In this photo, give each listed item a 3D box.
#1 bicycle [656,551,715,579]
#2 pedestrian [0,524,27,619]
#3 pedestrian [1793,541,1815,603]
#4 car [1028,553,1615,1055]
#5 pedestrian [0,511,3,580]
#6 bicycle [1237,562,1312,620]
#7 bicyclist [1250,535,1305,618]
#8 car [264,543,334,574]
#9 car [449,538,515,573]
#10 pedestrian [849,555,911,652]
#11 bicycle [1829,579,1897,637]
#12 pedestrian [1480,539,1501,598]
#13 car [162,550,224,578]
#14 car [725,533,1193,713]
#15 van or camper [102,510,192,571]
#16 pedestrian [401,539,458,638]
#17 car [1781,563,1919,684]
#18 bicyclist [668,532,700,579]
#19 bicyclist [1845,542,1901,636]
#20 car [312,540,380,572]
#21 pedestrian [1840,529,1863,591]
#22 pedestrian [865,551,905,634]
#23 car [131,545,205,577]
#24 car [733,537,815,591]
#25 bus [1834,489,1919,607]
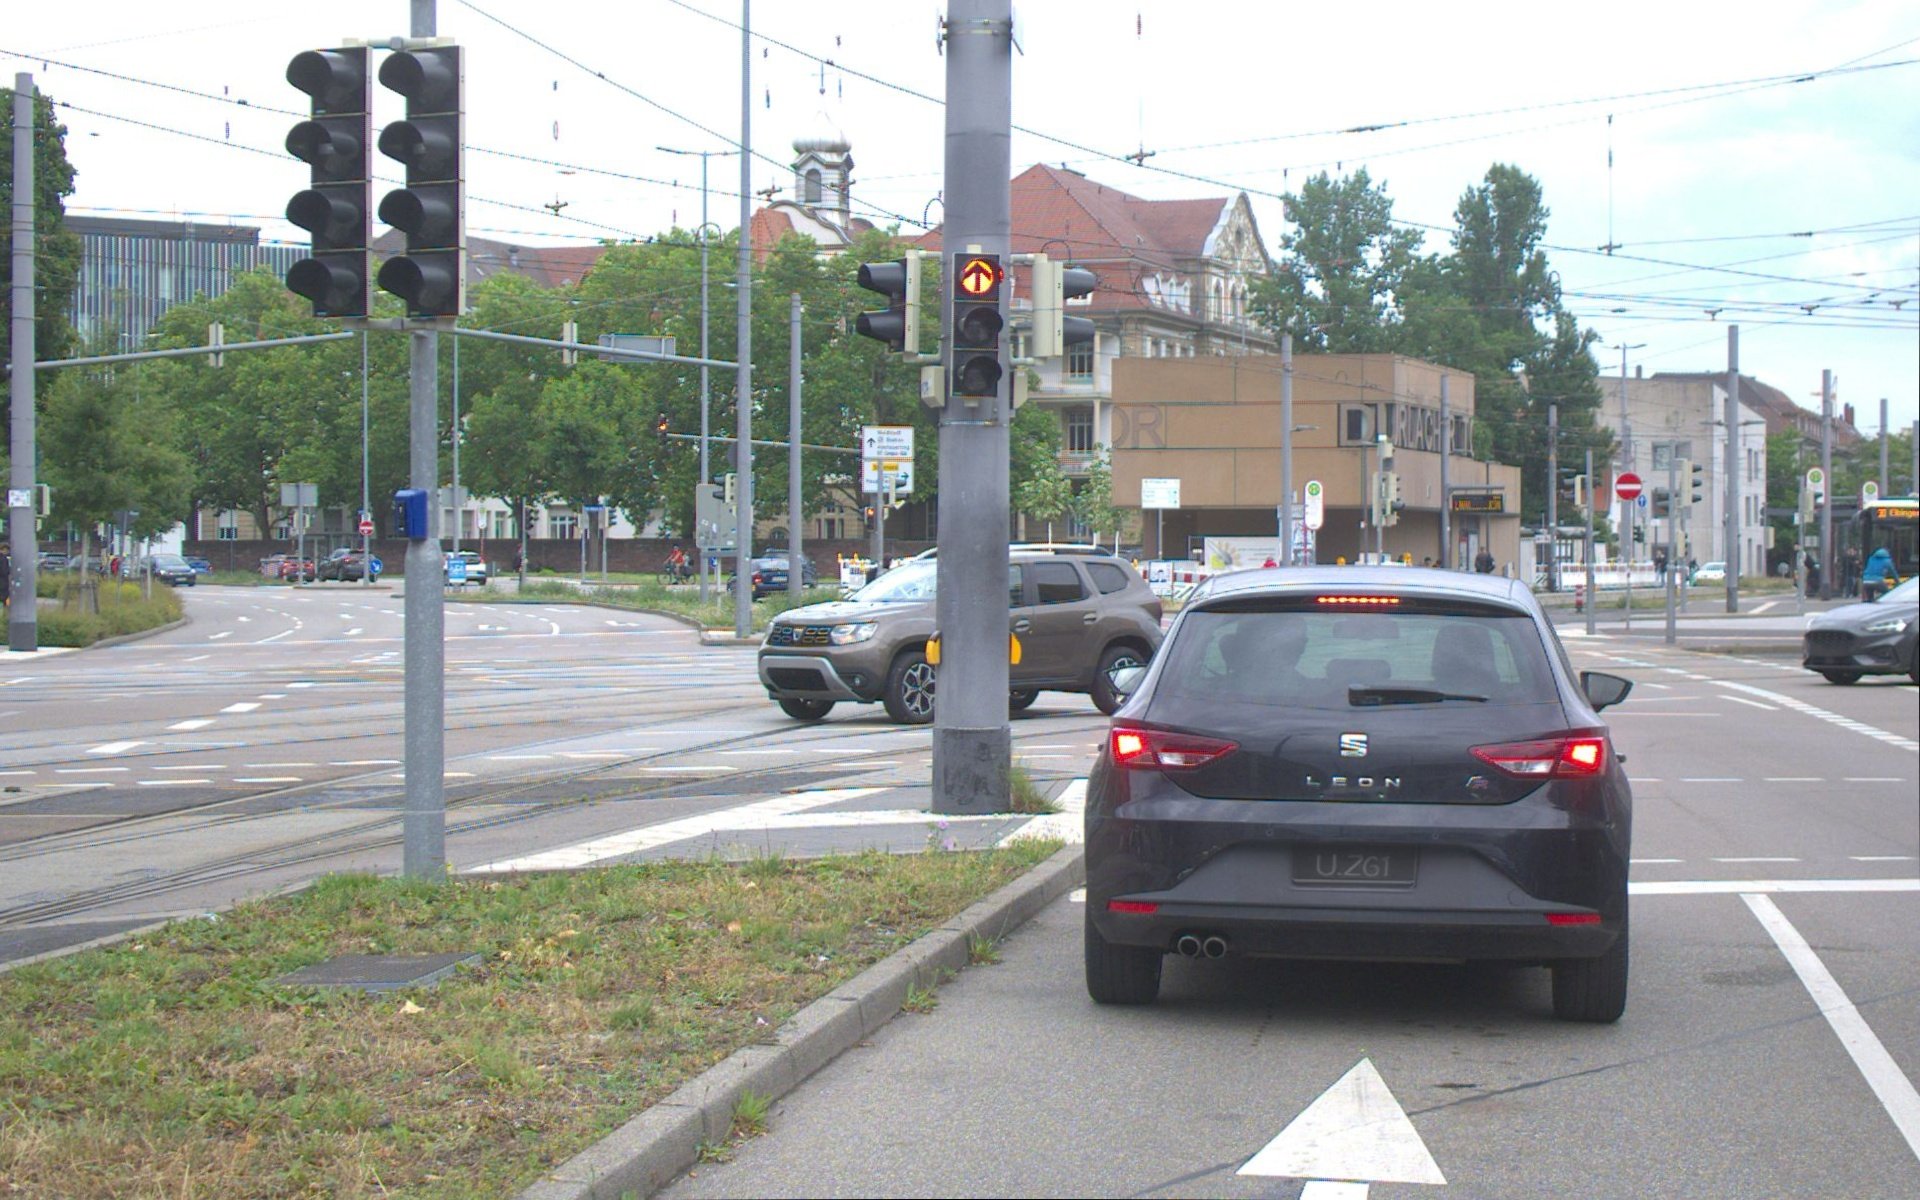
[{"bbox_3d":[-11.664,-1.472,146.051,0.941,1.175,2.724,1,1,37],"label":"bicycle"},{"bbox_3d":[-20.482,-0.600,73.586,0.928,2.007,1.012,0,-1,-11],"label":"pedestrian"},{"bbox_3d":[26.377,-0.878,107.450,0.622,1.911,0.698,0,1,18],"label":"pedestrian"},{"bbox_3d":[1.210,0.572,12.038,1.704,1.444,3.811,1,1,5],"label":"car"},{"bbox_3d":[-27.974,-1.566,98.721,0.793,1.975,0.881,0,-1,-26],"label":"pedestrian"},{"bbox_3d":[6.612,-0.199,72.349,0.891,1.174,2.303,0,1,-13],"label":"bicycle"},{"bbox_3d":[6.664,-0.495,72.161,0.882,1.726,0.895,0,1,-13],"label":"bicyclist"},{"bbox_3d":[-32.546,-2.060,169.262,1.776,1.459,3.999,0,2,-37],"label":"car"},{"bbox_3d":[-20.823,-1.929,149.612,1.775,1.459,4.001,0,1,-24],"label":"car"},{"bbox_3d":[-1.603,0.066,68.816,1.028,1.927,0.700,-1,1,-43],"label":"pedestrian"},{"bbox_3d":[17.883,0.143,68.128,0.865,1.101,2.302,1,1,4],"label":"bicycle"},{"bbox_3d":[17.346,-1.029,112.422,0.621,1.911,0.710,0,1,12],"label":"pedestrian"},{"bbox_3d":[-40.653,-1.916,182.199,1.776,1.459,4.000,0,1,-35],"label":"car"},{"bbox_3d":[0.017,0.192,33.205,4.216,1.634,1.803,0,1,-34],"label":"car"},{"bbox_3d":[-42.280,-3.100,178.698,2.388,3.113,5.501,0,1,-40],"label":"van or camper"},{"bbox_3d":[-10.406,-0.225,67.448,1.027,1.927,0.701,0,1,-16],"label":"pedestrian"},{"bbox_3d":[12.206,0.255,41.487,4.377,1.391,1.699,0,1,-26],"label":"car"},{"bbox_3d":[-11.711,-1.888,146.012,0.939,2.007,0.976,1,1,37],"label":"bicyclist"},{"bbox_3d":[18.064,-0.231,68.039,0.871,1.845,1.047,0,1,3],"label":"bicyclist"},{"bbox_3d":[-29.113,-2.093,162.984,1.776,1.459,4.000,0,2,-32],"label":"car"},{"bbox_3d":[27.913,-1.258,107.631,0.622,1.911,0.698,0,1,18],"label":"pedestrian"},{"bbox_3d":[-1.412,-0.142,64.408,0.727,1.536,0.417,0,1,-4],"label":"pedestrian"},{"bbox_3d":[-36.299,-1.791,157.462,1.776,1.459,3.999,0,1,-38],"label":"car"},{"bbox_3d":[-6.007,-1.145,110.504,1.993,1.678,4.001,0,0,-13],"label":"car"},{"bbox_3d":[27.013,-1.453,96.641,2.964,3.112,11.524,1,1,23],"label":"bus"}]
